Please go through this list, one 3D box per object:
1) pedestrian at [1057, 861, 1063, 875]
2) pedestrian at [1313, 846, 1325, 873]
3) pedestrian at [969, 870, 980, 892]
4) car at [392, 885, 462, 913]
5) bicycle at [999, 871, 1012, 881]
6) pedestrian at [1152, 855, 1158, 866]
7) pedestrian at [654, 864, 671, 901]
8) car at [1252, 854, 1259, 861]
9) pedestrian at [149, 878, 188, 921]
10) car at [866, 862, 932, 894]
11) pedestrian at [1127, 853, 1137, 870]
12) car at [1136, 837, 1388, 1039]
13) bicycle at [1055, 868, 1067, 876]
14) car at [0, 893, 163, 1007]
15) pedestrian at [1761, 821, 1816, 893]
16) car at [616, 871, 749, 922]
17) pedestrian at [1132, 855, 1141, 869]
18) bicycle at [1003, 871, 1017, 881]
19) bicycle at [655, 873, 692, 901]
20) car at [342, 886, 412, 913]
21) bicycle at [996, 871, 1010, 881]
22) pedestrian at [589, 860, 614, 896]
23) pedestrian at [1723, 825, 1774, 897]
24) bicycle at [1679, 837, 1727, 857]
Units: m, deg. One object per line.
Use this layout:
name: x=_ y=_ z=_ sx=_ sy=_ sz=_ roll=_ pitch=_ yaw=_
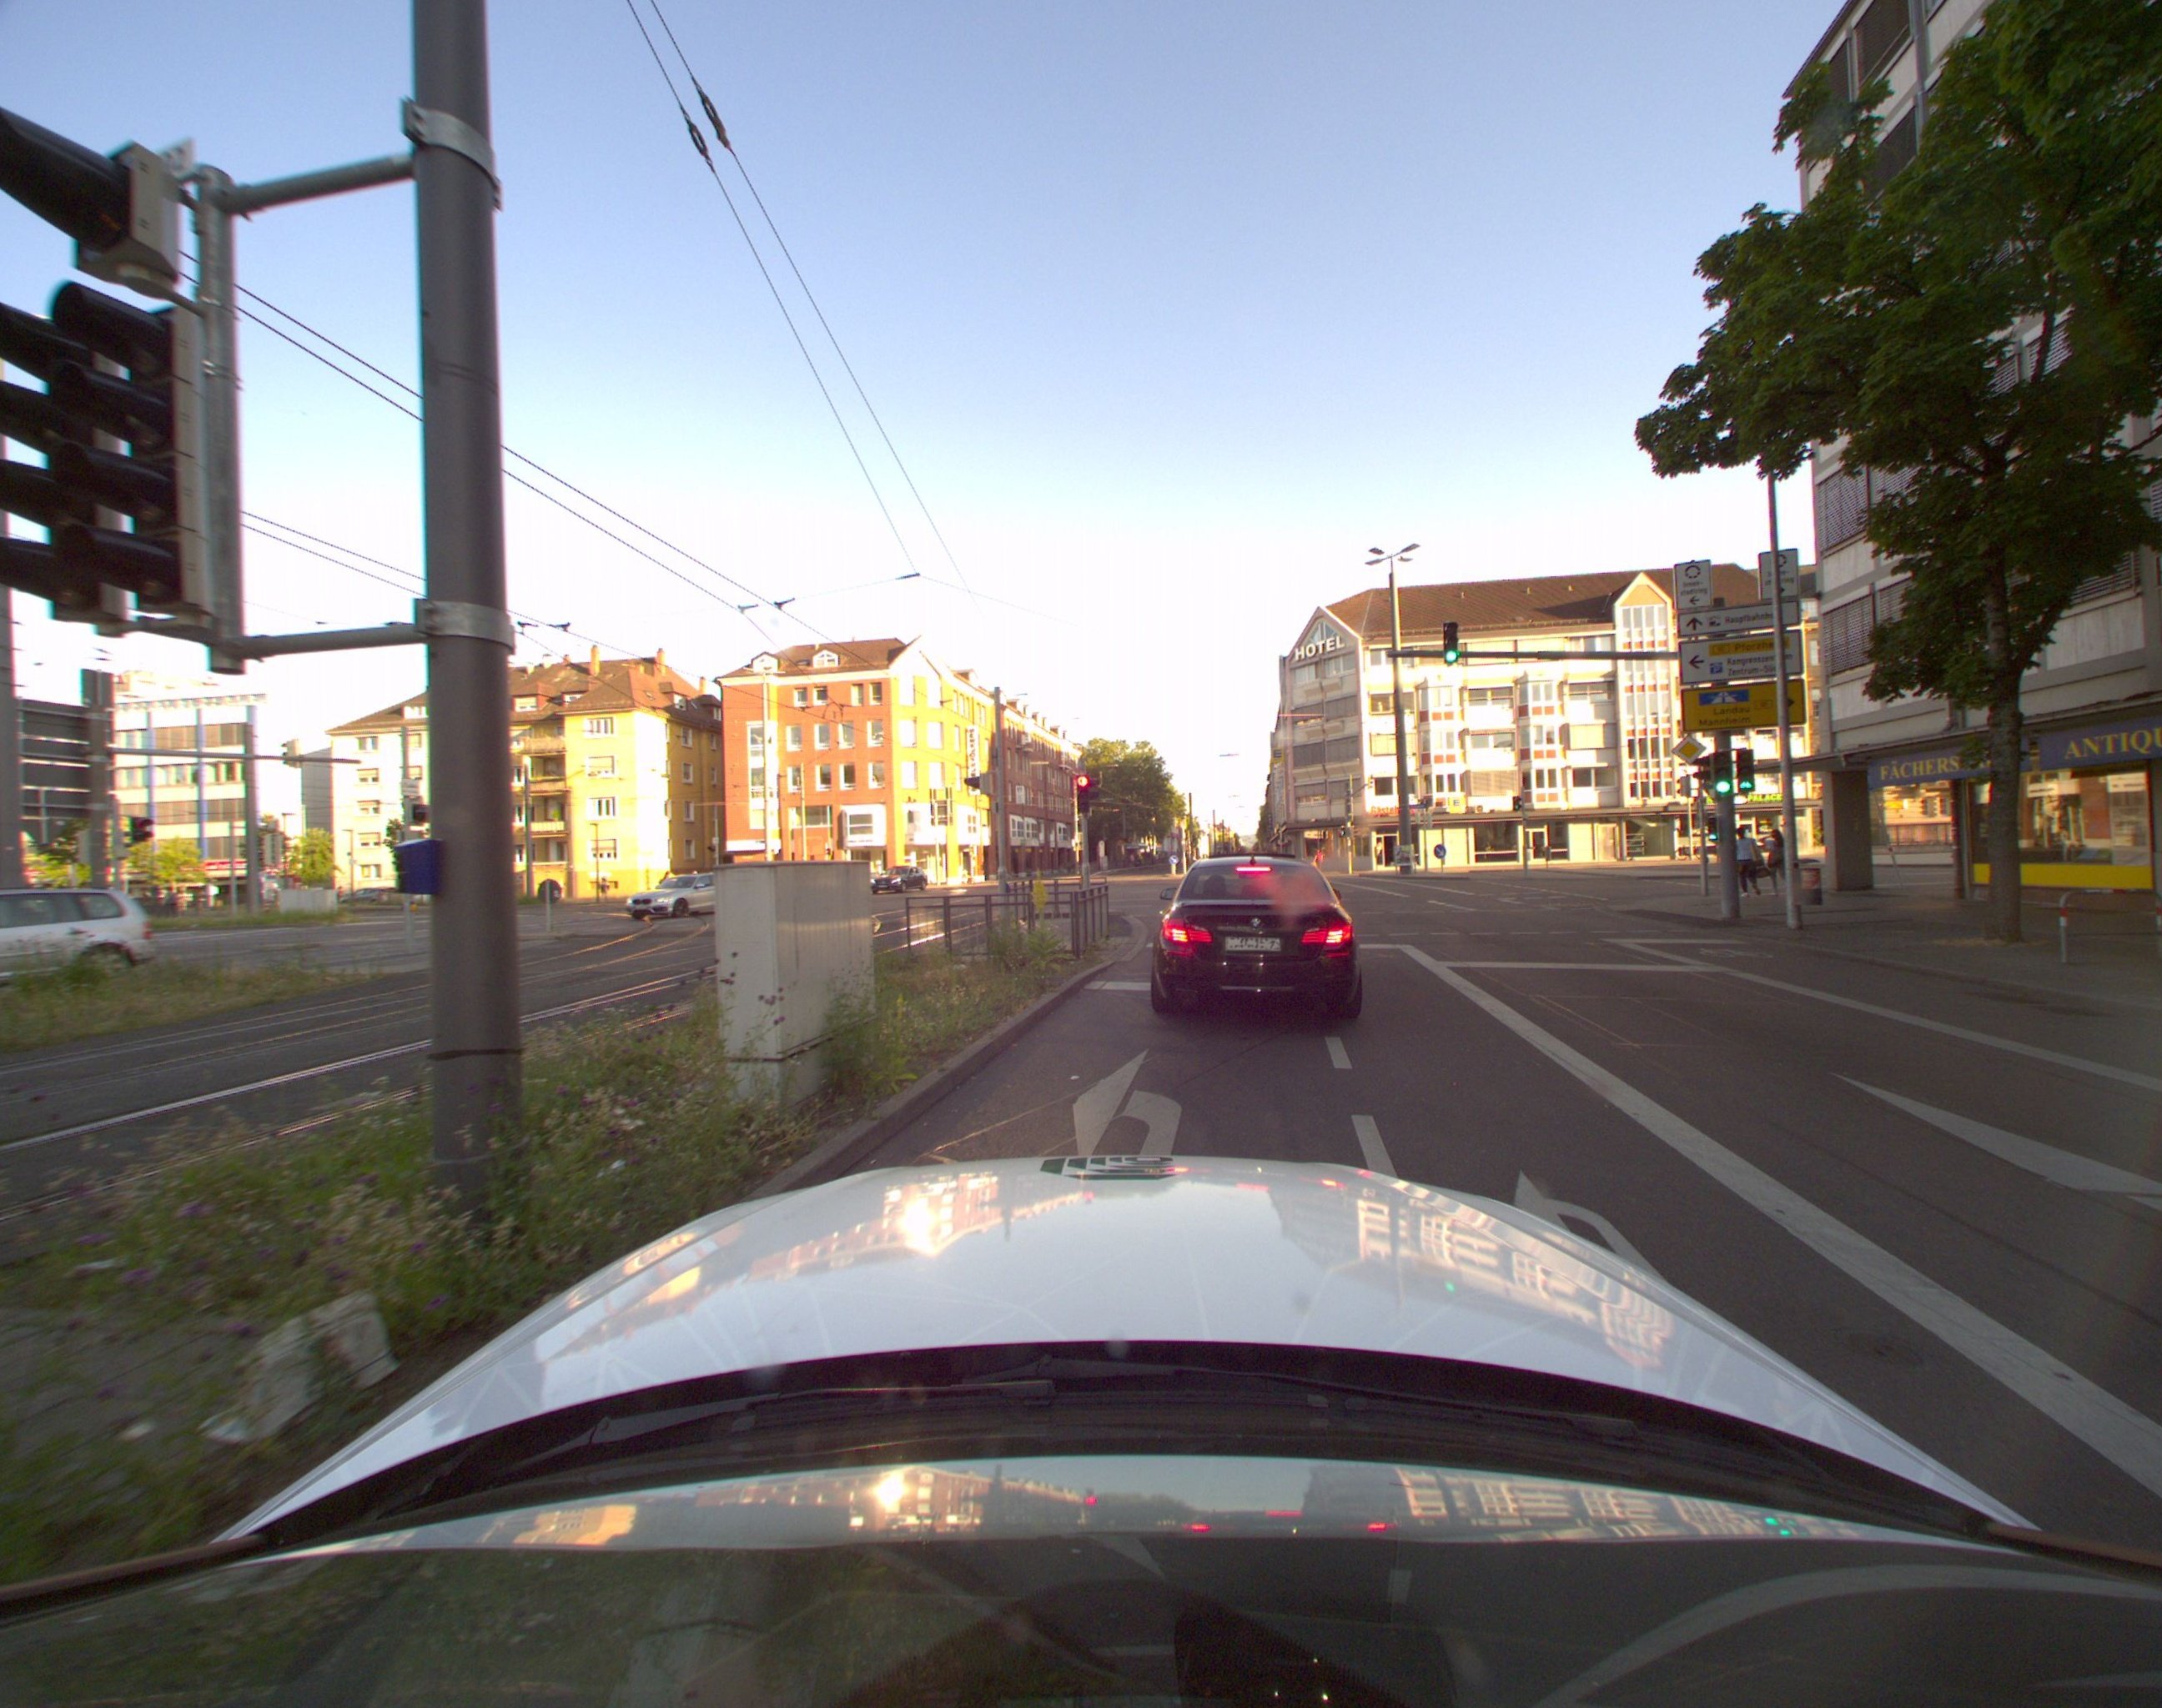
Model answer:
pedestrian: x=-2.486 y=1.683 z=97.795 sx=0.482 sy=1.681 sz=0.658 roll=-2 pitch=-1 yaw=16
pedestrian: x=16.833 y=0.372 z=57.693 sx=0.680 sy=1.854 sz=0.672 roll=-2 pitch=-1 yaw=8
pedestrian: x=-9.317 y=2.335 z=71.062 sx=0.626 sy=1.868 sz=0.683 roll=0 pitch=0 yaw=38
car: x=-51.667 y=3.546 z=64.380 sx=3.967 sy=2.014 sz=2.003 roll=-1 pitch=0 yaw=6
bicycle: x=-7.220 y=2.119 z=77.918 sx=1.283 sy=0.922 sz=0.349 roll=0 pitch=0 yaw=-4
pedestrian: x=11.108 y=1.005 z=121.637 sx=0.718 sy=1.681 sz=0.995 roll=-2 pitch=-1 yaw=14
pedestrian: x=-21.206 y=1.449 z=41.273 sx=0.499 sy=1.868 sz=0.564 roll=0 pitch=0 yaw=7
car: x=41.477 y=0.878 z=193.489 sx=1.463 sy=1.515 sz=3.105 roll=-2 pitch=0 yaw=11
pedestrian: x=-41.752 y=2.064 z=37.267 sx=0.718 sy=1.868 sz=0.883 roll=-2 pitch=-1 yaw=-8
car: x=-10.064 y=1.293 z=45.398 sx=1.981 sy=1.585 sz=4.491 roll=-3 pitch=0 yaw=10
pedestrian: x=6.107 y=0.897 z=97.468 sx=0.981 sy=2.014 sz=0.728 roll=-1 pitch=0 yaw=11
car: x=1.710 y=0.652 z=8.503 sx=1.982 sy=1.585 sz=4.009 roll=0 pitch=0 yaw=8
bicycle: x=-2.444 y=2.182 z=99.869 sx=1.409 sy=0.922 sz=0.403 roll=0 pitch=0 yaw=-2
car: x=-17.004 y=1.505 z=12.001 sx=1.980 sy=1.585 sz=4.126 roll=-3 pitch=0 yaw=11
pedestrian: x=16.986 y=0.080 z=19.559 sx=0.717 sy=1.667 sz=0.674 roll=-2 pitch=-1 yaw=15
car: x=-13.449 y=1.391 z=27.801 sx=1.657 sy=1.448 sz=4.219 roll=-2 pitch=0 yaw=15
pedestrian: x=6.948 y=1.018 z=102.594 sx=0.981 sy=1.681 sz=0.728 roll=-2 pitch=-1 yaw=11
bicycle: x=-6.923 y=2.119 z=79.273 sx=1.410 sy=0.922 sz=0.443 roll=0 pitch=0 yaw=-4
bicycle: x=-20.624 y=1.643 z=41.289 sx=0.614 sy=1.325 sz=2.020 roll=0 pitch=0 yaw=8
car: x=-56.038 y=3.594 z=64.842 sx=3.967 sy=2.014 sz=2.003 roll=-1 pitch=0 yaw=6
bicycle: x=-7.409 y=2.119 z=77.294 sx=1.278 sy=0.922 sz=0.350 roll=0 pitch=0 yaw=8
pedestrian: x=-25.619 y=1.262 z=43.501 sx=0.828 sy=1.868 sz=0.949 roll=-1 pitch=0 yaw=42
pedestrian: x=15.944 y=0.166 z=19.460 sx=0.679 sy=1.667 sz=0.674 roll=-2 pitch=-1 yaw=15
bicycle: x=41.197 y=-0.465 z=53.975 sx=2.392 sy=1.265 sz=0.824 roll=-2 pitch=-1 yaw=6
